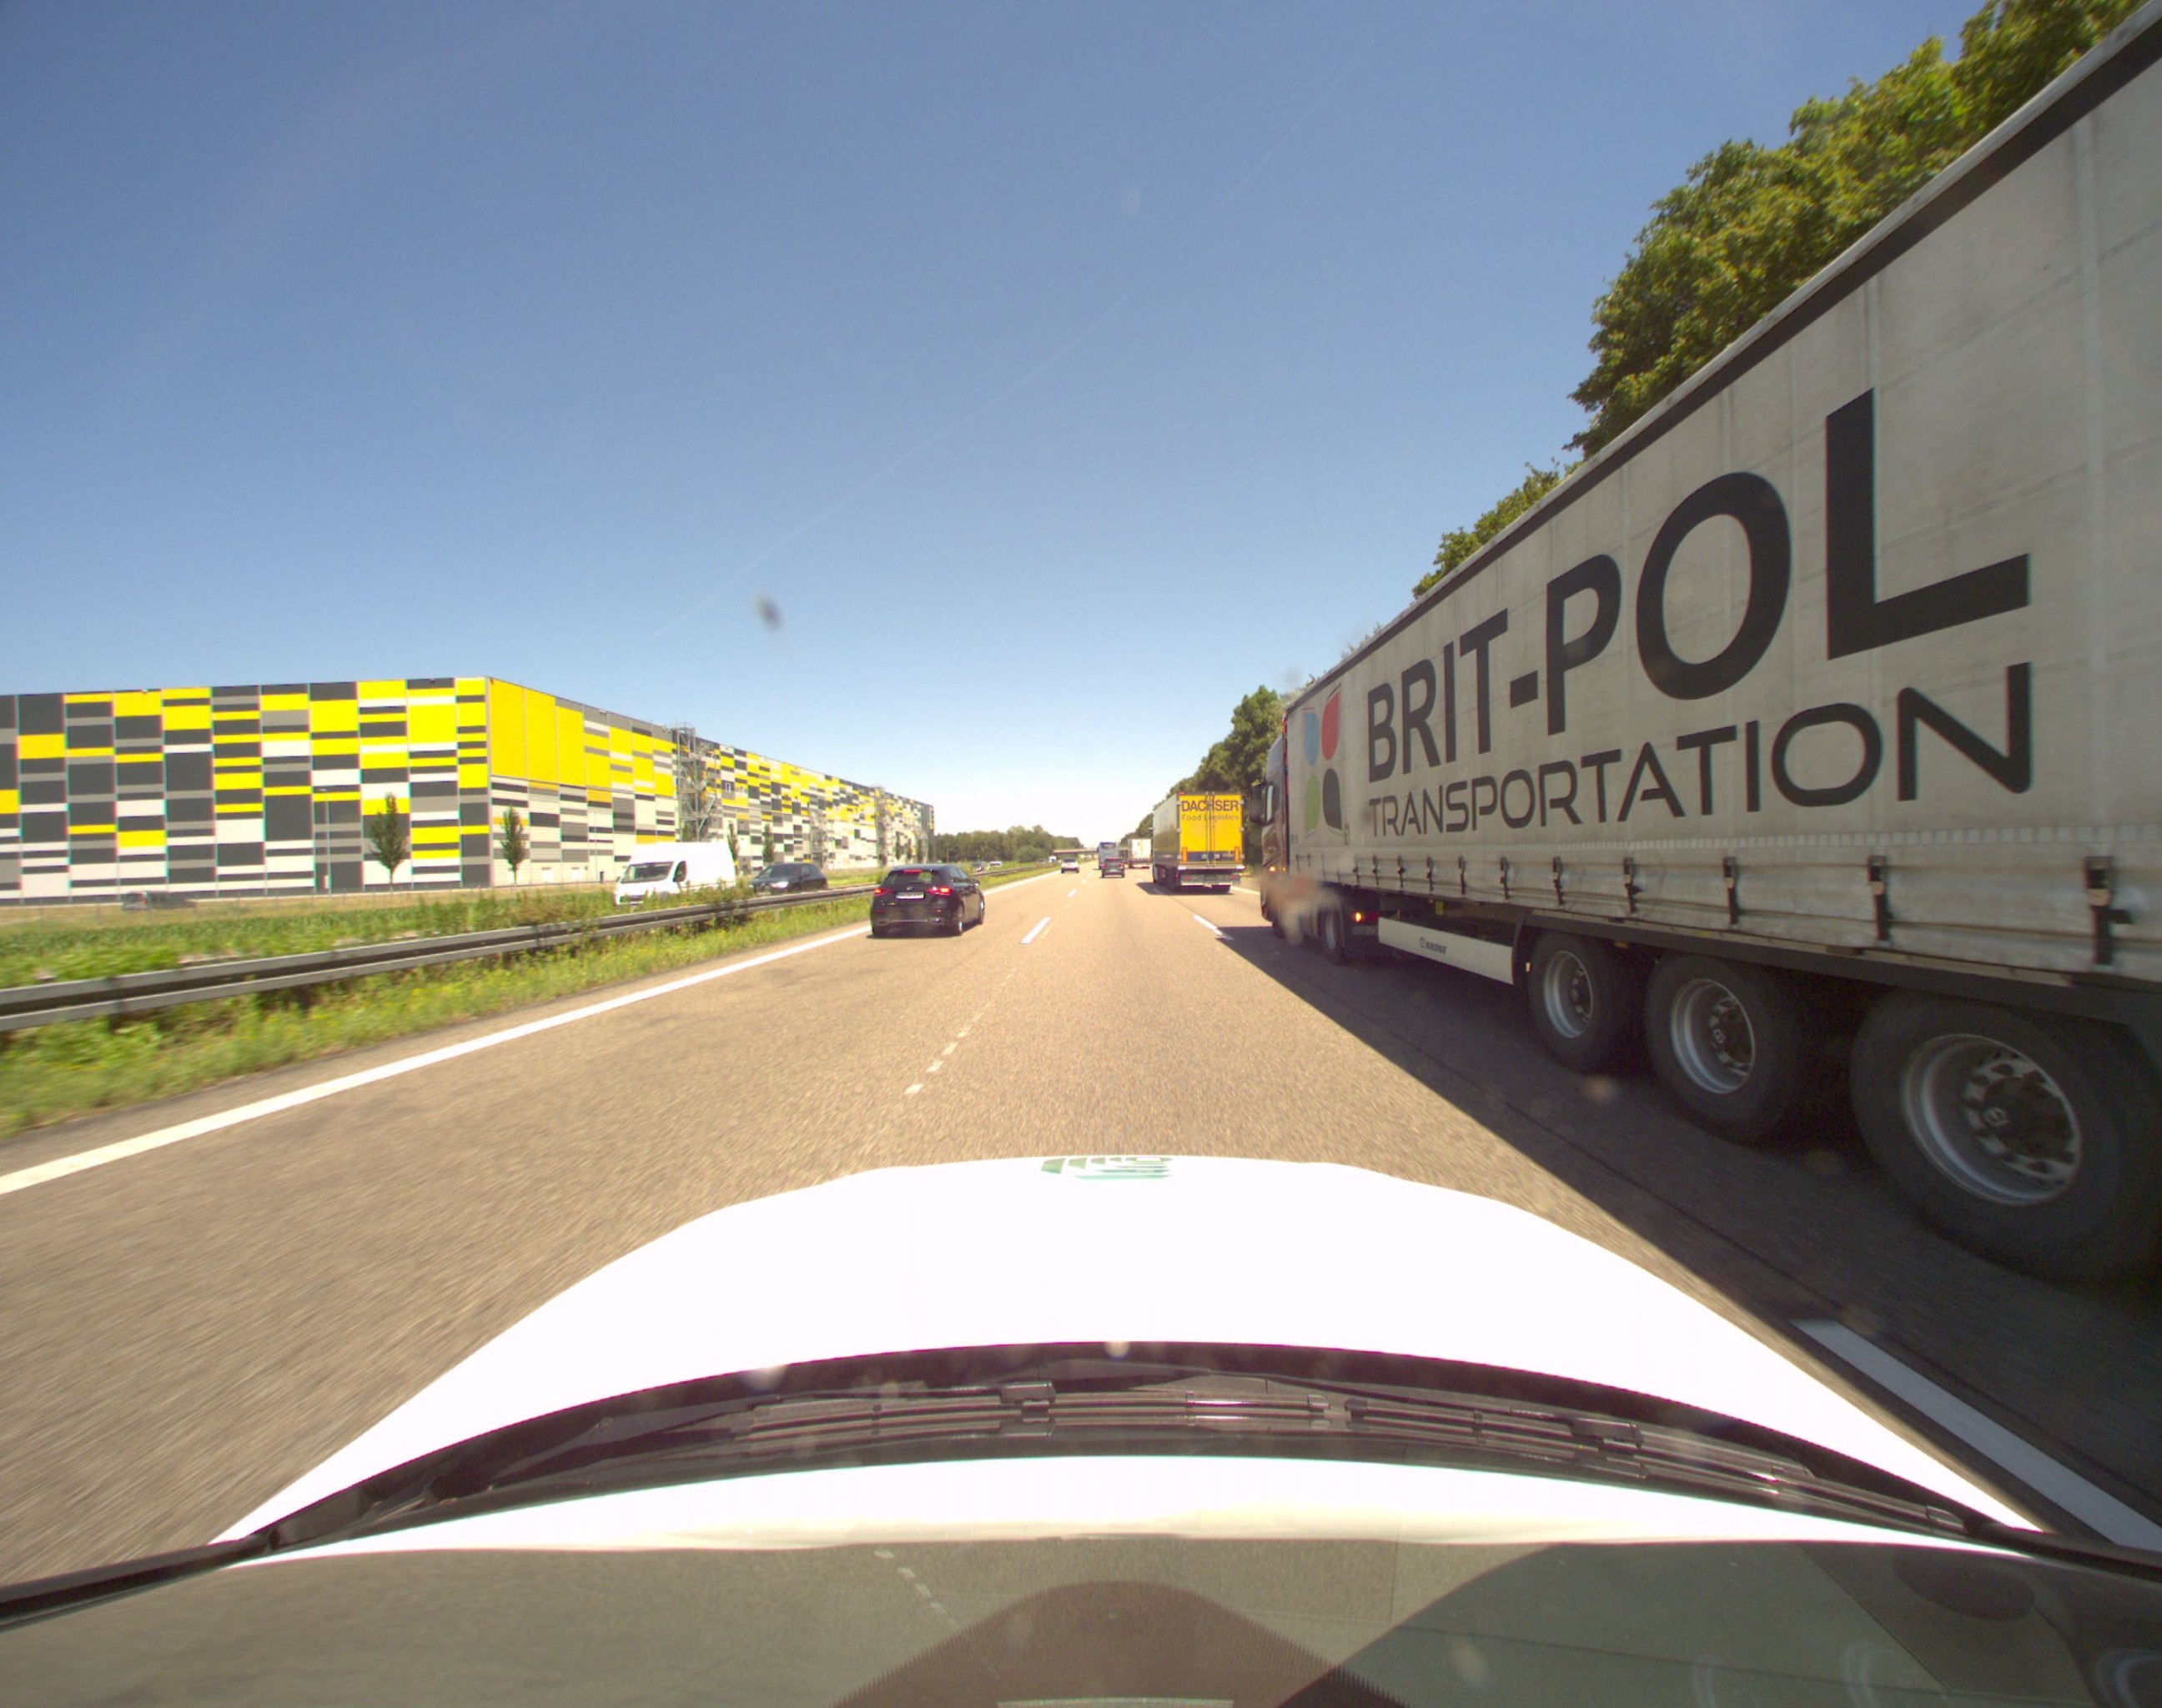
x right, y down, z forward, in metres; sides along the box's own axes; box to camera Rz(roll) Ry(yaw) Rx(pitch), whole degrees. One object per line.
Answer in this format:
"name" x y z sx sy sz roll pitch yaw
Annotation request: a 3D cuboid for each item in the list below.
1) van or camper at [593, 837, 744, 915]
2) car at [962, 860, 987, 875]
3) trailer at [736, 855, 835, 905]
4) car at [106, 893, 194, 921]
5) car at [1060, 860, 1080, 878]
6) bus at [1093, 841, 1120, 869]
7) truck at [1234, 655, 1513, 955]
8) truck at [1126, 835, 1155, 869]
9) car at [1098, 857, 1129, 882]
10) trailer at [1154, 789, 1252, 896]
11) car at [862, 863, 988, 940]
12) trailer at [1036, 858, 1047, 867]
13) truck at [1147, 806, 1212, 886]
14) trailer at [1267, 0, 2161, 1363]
"van or camper" -15.568 0.797 31.290 2.413 2.534 6.177 -4 -1 1
"car" -13.972 1.808 107.318 2.307 1.815 5.353 -3 0 2
"trailer" -11.640 0.965 32.485 1.986 1.758 4.858 -3 0 1
"car" -68.067 3.843 59.625 1.679 1.727 4.112 -3 0 0
"car" -1.117 1.501 84.248 1.987 1.728 4.131 -1 0 1
"bus" 3.229 0.171 104.746 3.052 3.326 8.273 -3 0 0
"truck" 4.928 -0.708 15.188 3.076 4.441 6.054 -1 -1 1
"truck" 7.786 -0.198 107.915 3.409 4.126 9.570 -3 0 3
"car" 2.480 1.166 63.077 2.208 1.790 5.395 -2 0 1
"trailer" 5.137 -0.431 36.614 2.824 3.954 11.687 -1 0 1
"car" -3.203 0.917 17.512 1.785 1.412 4.054 -1 0 2
"trailer" -7.831 1.642 162.023 1.938 1.789 5.237 -3 0 0
"truck" 5.290 -0.384 44.743 2.803 4.006 6.646 -2 0 1
"trailer" 4.720 -0.807 7.291 3.094 4.507 14.901 -1 0 2
